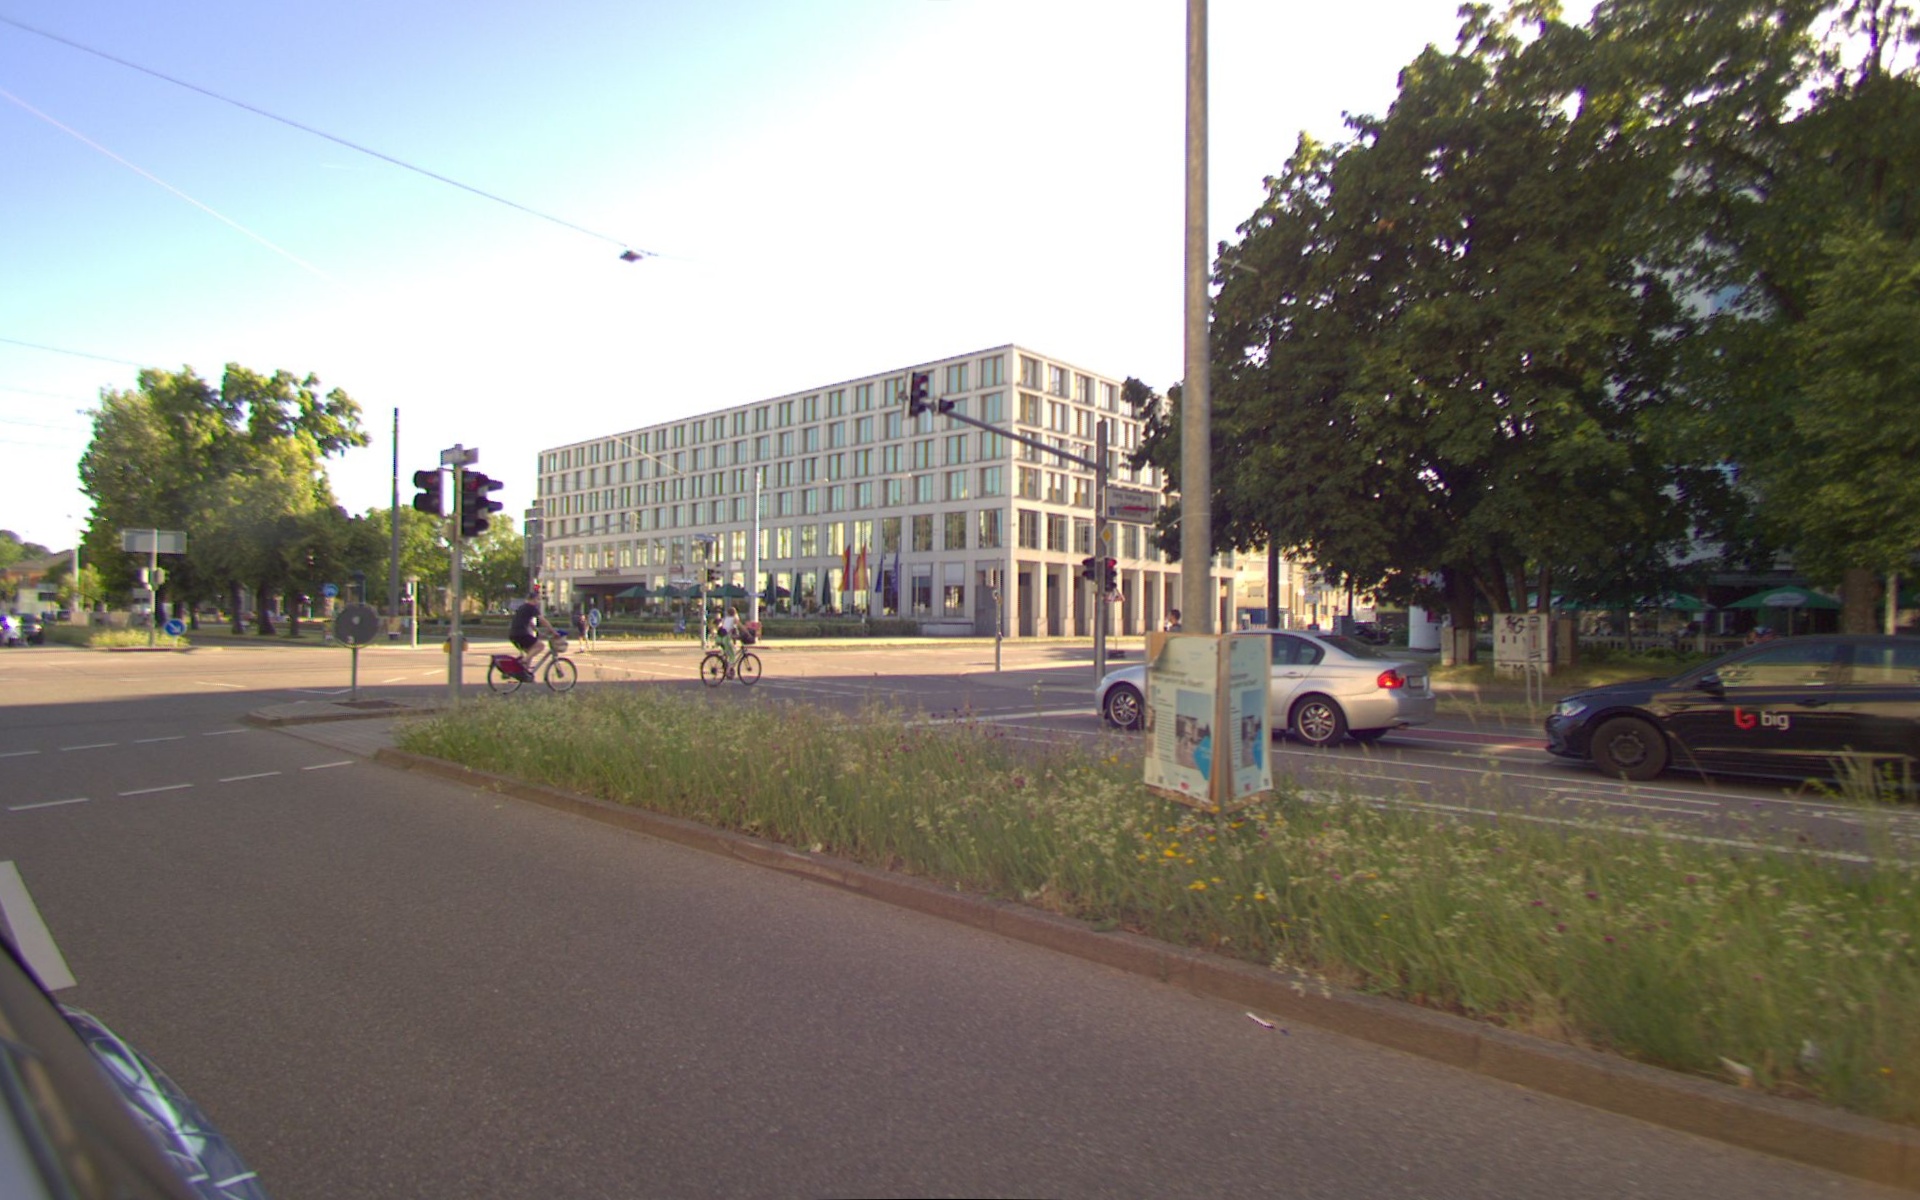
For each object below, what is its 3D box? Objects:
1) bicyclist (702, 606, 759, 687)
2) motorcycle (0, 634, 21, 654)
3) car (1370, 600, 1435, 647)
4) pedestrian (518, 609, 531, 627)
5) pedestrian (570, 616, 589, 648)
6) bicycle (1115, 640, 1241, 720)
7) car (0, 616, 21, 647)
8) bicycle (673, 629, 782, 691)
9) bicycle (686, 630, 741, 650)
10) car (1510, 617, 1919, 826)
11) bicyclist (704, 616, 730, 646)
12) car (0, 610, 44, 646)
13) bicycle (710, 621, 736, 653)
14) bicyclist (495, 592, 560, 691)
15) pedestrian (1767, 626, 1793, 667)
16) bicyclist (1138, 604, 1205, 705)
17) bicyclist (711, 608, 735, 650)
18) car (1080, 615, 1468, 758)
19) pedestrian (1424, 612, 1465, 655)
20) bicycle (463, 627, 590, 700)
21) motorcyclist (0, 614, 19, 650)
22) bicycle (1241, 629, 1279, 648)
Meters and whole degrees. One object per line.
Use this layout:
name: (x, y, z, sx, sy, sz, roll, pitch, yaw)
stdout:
bicyclist: (-5.027, 0.999, 22.149, 0.775, 1.703, 0.912, 1, 0, 42)
motorcycle: (-39.386, 1.796, 41.850, 1.308, 0.801, 0.616, -1, -2, 40)
car: (28.832, 1.525, 65.867, 2.598, 2.975, 5.021, -1, -2, 40)
pedestrian: (-39.010, 1.608, 90.686, 0.762, 1.537, 0.774, -1, -2, 43)
pedestrian: (-18.790, 1.579, 49.979, 0.602, 1.537, 0.616, -1, -2, 38)
bicycle: (3.719, 1.333, 17.476, 0.765, 1.249, 2.255, 2, -2, -32)
car: (-50.330, 1.618, 52.533, 4.549, 1.585, 1.972, -1, -2, 43)
bicycle: (-5.054, 1.281, 22.149, 0.778, 1.249, 2.280, 1, 0, 42)
bicycle: (-11.150, 1.803, 45.813, 2.295, 0.858, 0.846, 1, -2, -28)
car: (7.915, 1.014, 9.444, 4.549, 1.688, 1.972, -1, -2, 43)
bicyclist: (-11.023, 1.398, 45.889, 0.956, 1.372, 0.829, 1, -2, -28)
car: (-43.690, 1.274, 46.518, 4.549, 1.585, 1.972, -1, -2, 43)
bicycle: (-9.452, 1.450, 40.287, 0.832, 1.240, 2.020, 1, -1, -18)
bicyclist: (-7.985, 0.757, 18.690, 0.755, 1.756, 0.827, 1, -1, 42)
pedestrian: (27.463, 1.548, 33.898, 0.723, 1.350, 0.600, 2, -2, -44)
bicyclist: (3.668, 0.932, 17.576, 0.770, 1.692, 0.841, 2, -2, -33)
bicyclist: (-9.441, 1.159, 40.254, 0.838, 1.631, 0.976, 1, -2, -18)
car: (4.012, 1.000, 13.466, 4.549, 1.572, 1.972, -1, -2, 43)
pedestrian: (19.828, 1.363, 41.399, 0.879, 1.754, 1.218, 1, -2, -32)
bicycle: (-7.976, 1.137, 18.701, 0.778, 1.249, 1.992, 1, 0, 42)
motorcyclist: (-39.442, 1.312, 41.907, 0.735, 1.457, 0.599, -1, -2, 39)
bicycle: (14.582, 1.882, 49.200, 1.602, 0.896, 0.761, -1, -2, 35)
